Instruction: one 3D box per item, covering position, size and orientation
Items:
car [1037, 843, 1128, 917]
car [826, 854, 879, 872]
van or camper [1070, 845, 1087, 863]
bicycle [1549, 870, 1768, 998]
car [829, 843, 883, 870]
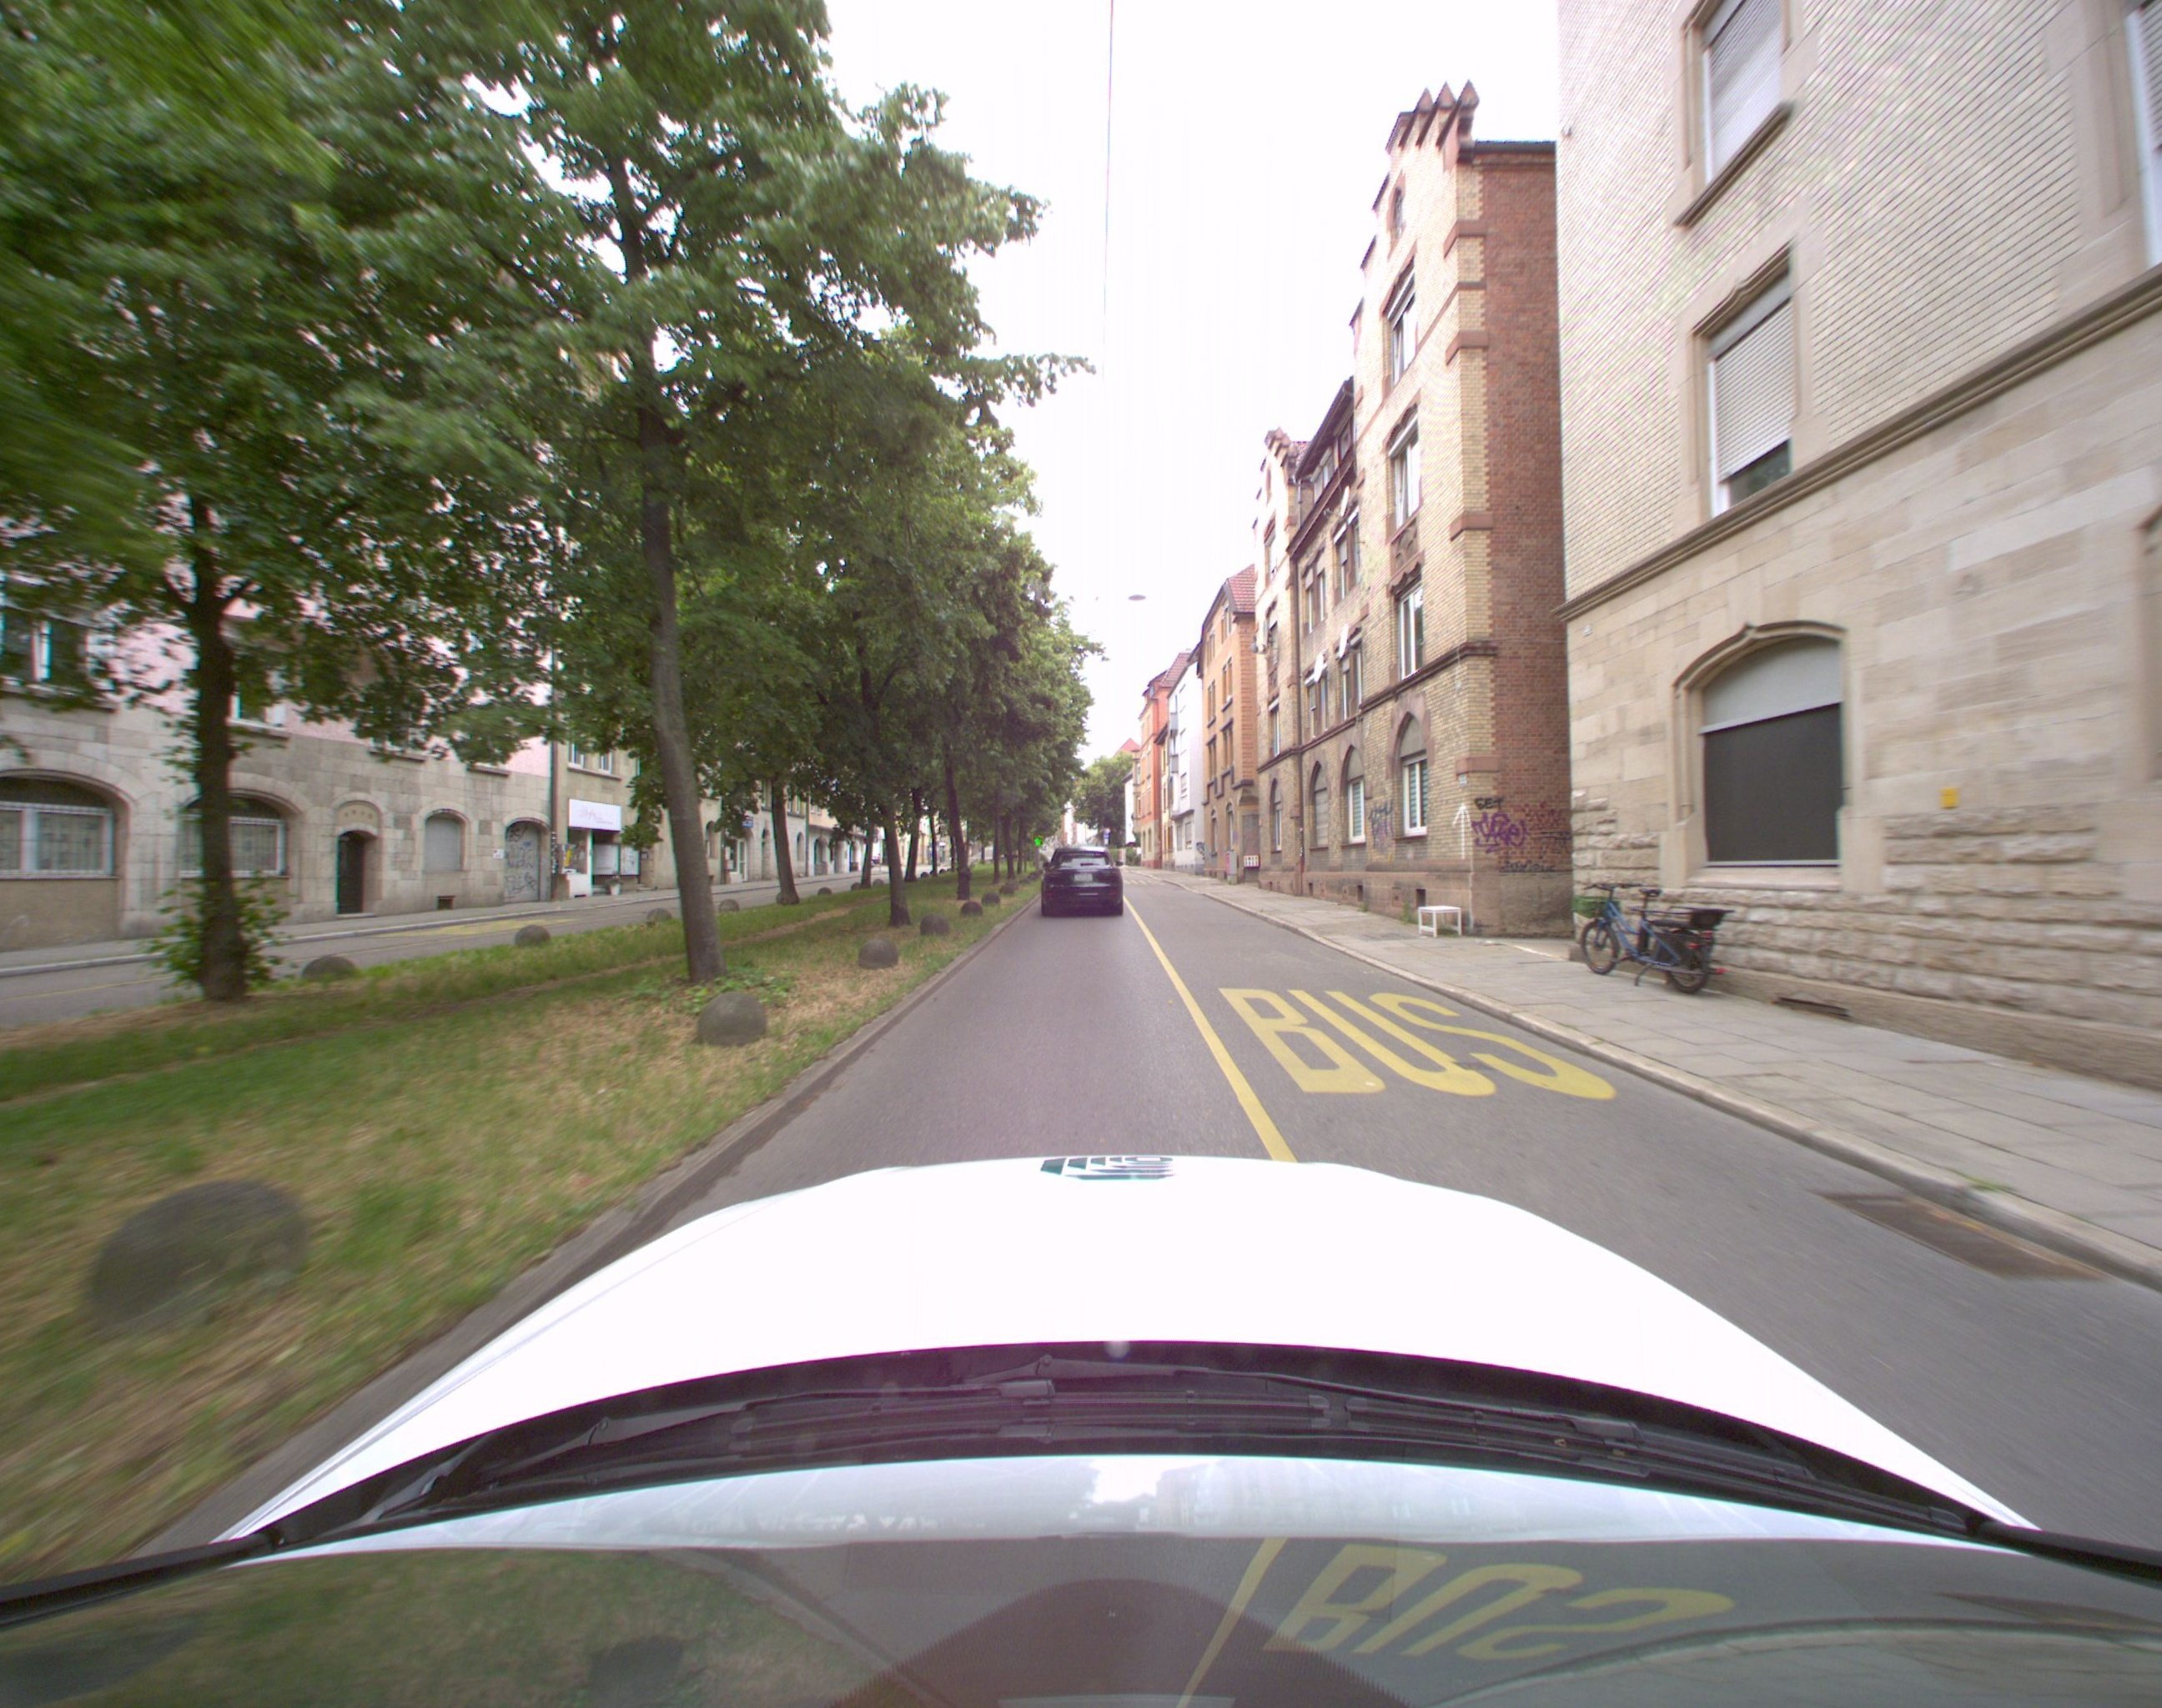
[{"bbox_3d":[-0.066,0.606,20.799,1.901,1.666,4.127,-1,0,-6],"label":"car"},{"bbox_3d":[-21.061,0.822,75.102,4.276,1.420,2.046,2,0,-2],"label":"car"},{"bbox_3d":[-0.447,0.035,137.268,2.475,2.803,7.228,-1,0,-4],"label":"van or camper"},{"bbox_3d":[6.108,0.771,8.847,0.679,1.149,2.484,-1,0,2],"label":"bicycle"},{"bbox_3d":[-23.135,0.288,83.826,5.176,2.736,2.168,1,-1,-12],"label":"car"}]
